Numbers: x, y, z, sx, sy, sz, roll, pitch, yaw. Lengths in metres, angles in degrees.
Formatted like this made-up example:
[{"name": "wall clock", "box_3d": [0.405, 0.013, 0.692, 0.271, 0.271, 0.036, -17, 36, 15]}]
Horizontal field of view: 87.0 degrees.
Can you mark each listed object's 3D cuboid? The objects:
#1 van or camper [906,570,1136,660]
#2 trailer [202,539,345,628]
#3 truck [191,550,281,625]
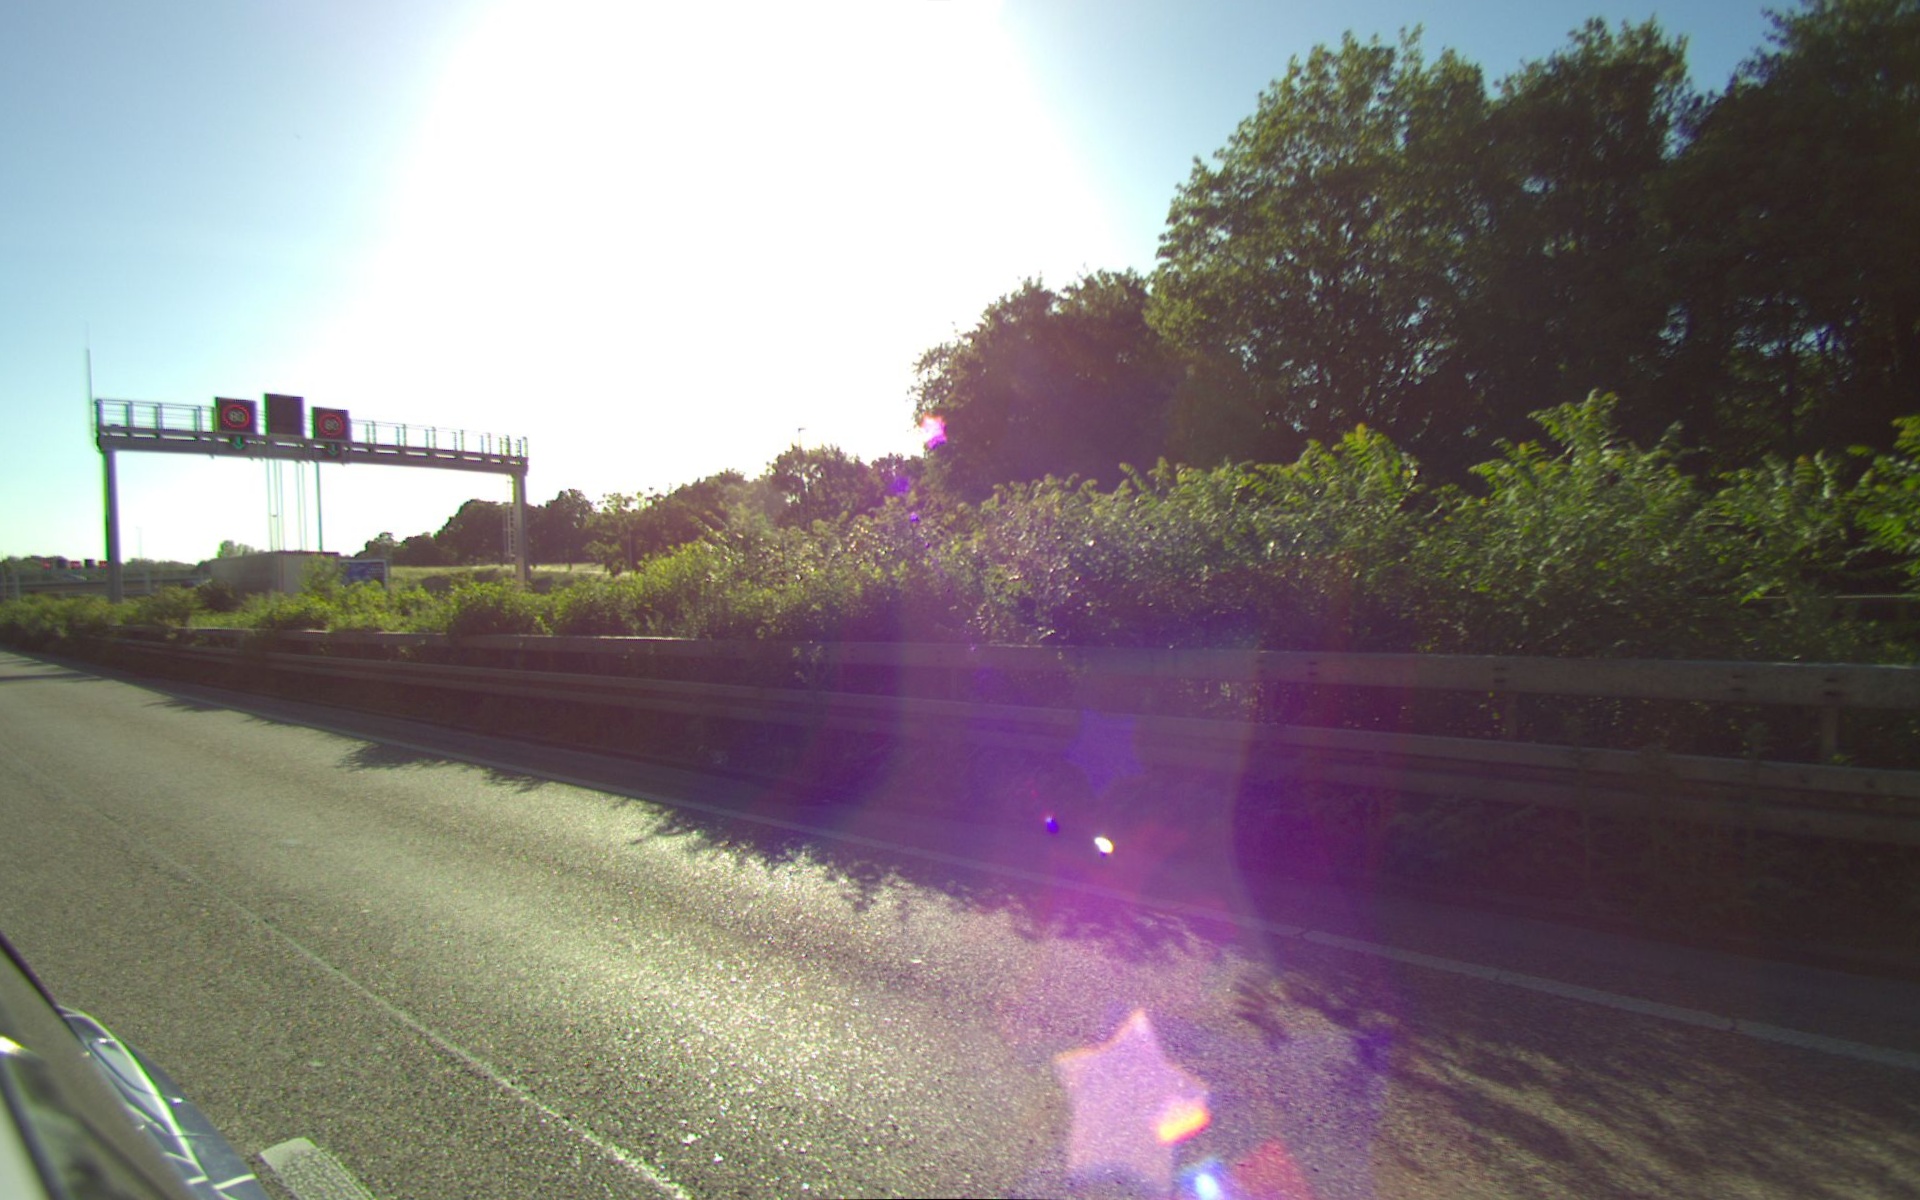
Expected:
[{"name": "van or camper", "box_3d": [1.390, 0.375, 25.490, 5.939, 2.029, 1.856, -1, 0, 43]}, {"name": "trailer", "box_3d": [-35.373, -0.690, 51.767, 14.026, 4.018, 2.990, -1, 0, 43]}, {"name": "truck", "box_3d": [-40.478, -0.640, 56.548, 5.900, 3.942, 2.971, -1, 0, 43]}]
